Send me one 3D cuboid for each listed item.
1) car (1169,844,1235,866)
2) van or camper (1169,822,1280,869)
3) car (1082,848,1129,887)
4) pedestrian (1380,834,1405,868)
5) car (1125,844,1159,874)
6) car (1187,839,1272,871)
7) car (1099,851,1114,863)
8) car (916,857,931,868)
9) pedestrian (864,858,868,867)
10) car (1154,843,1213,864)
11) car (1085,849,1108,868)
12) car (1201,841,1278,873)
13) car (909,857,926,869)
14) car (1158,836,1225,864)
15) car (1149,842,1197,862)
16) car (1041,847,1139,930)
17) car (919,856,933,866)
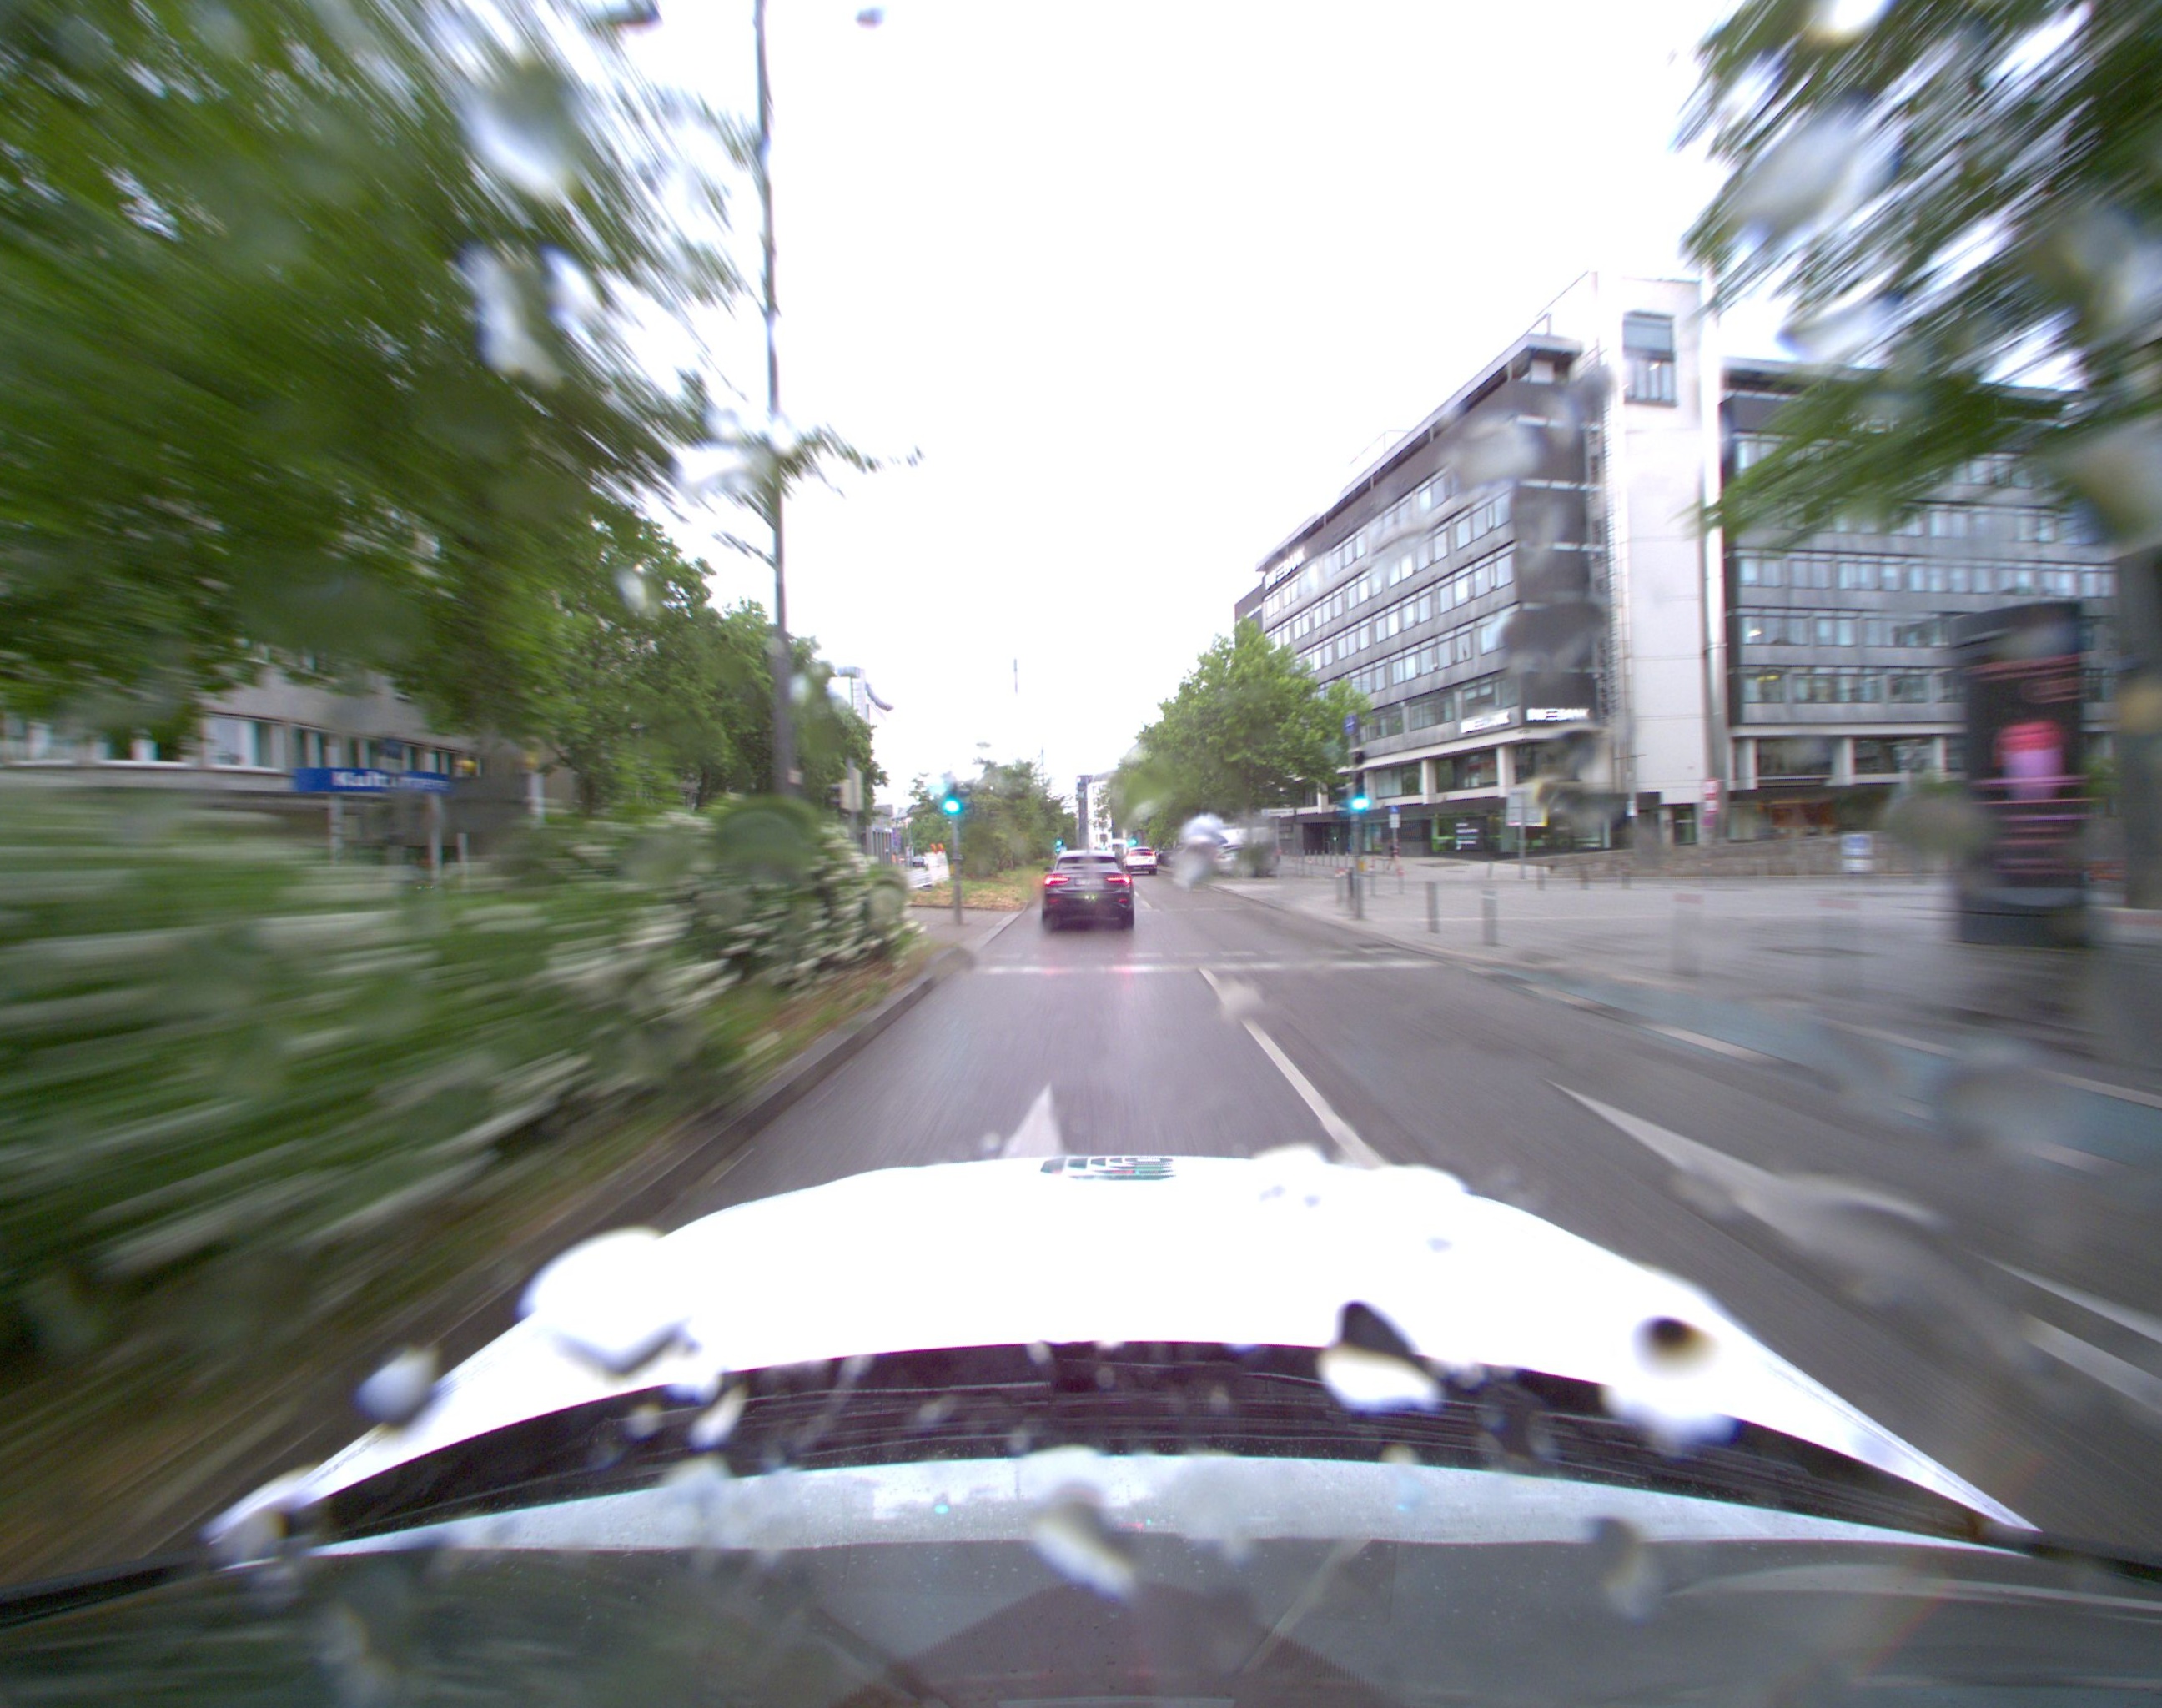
[{"bbox_3d":[8.766,0.069,59.131,4.324,1.436,1.772,-2,0,27],"label":"car"},{"bbox_3d":[8.471,-0.468,48.177,6.008,2.558,2.117,-2,0,28],"label":"van or camper"},{"bbox_3d":[1.025,0.527,34.739,1.843,1.523,4.040,-1,0,1],"label":"car"},{"bbox_3d":[15.848,-0.143,41.419,0.802,1.696,1.188,-1,0,1],"label":"pedestrian"},{"bbox_3d":[3.653,0.279,49.220,1.843,1.669,4.040,-1,0,1],"label":"car"},{"bbox_3d":[8.171,0.070,44.880,4.217,1.667,1.829,-1,0,27],"label":"car"},{"bbox_3d":[3.241,0.368,105.024,1.843,1.523,4.040,-1,0,1],"label":"car"},{"bbox_3d":[-23.082,1.209,119.298,1.807,1.548,3.990,-3,0,-7],"label":"car"},{"bbox_3d":[-34.441,1.305,130.475,0.391,1.396,0.407,-1,0,-2],"label":"pedestrian"},{"bbox_3d":[8.547,-0.079,67.951,4.512,1.506,1.880,-3,0,25],"label":"car"},{"bbox_3d":[1.338,0.353,68.353,1.843,1.523,4.040,-1,0,1],"label":"car"},{"bbox_3d":[8.215,0.144,42.210,3.618,1.547,1.723,-1,0,20],"label":"car"},{"bbox_3d":[-22.395,1.202,111.626,1.873,1.536,4.067,-3,0,-7],"label":"car"},{"bbox_3d":[8.810,-0.322,64.976,4.891,1.978,1.941,-3,0,27],"label":"car"},{"bbox_3d":[8.845,-0.193,78.297,4.177,1.669,1.850,-3,0,28],"label":"car"},{"bbox_3d":[0.196,0.653,17.503,1.843,1.523,4.039,-1,0,1],"label":"car"},{"bbox_3d":[-23.724,1.044,124.889,1.723,1.451,3.585,-3,0,-6],"label":"car"}]
